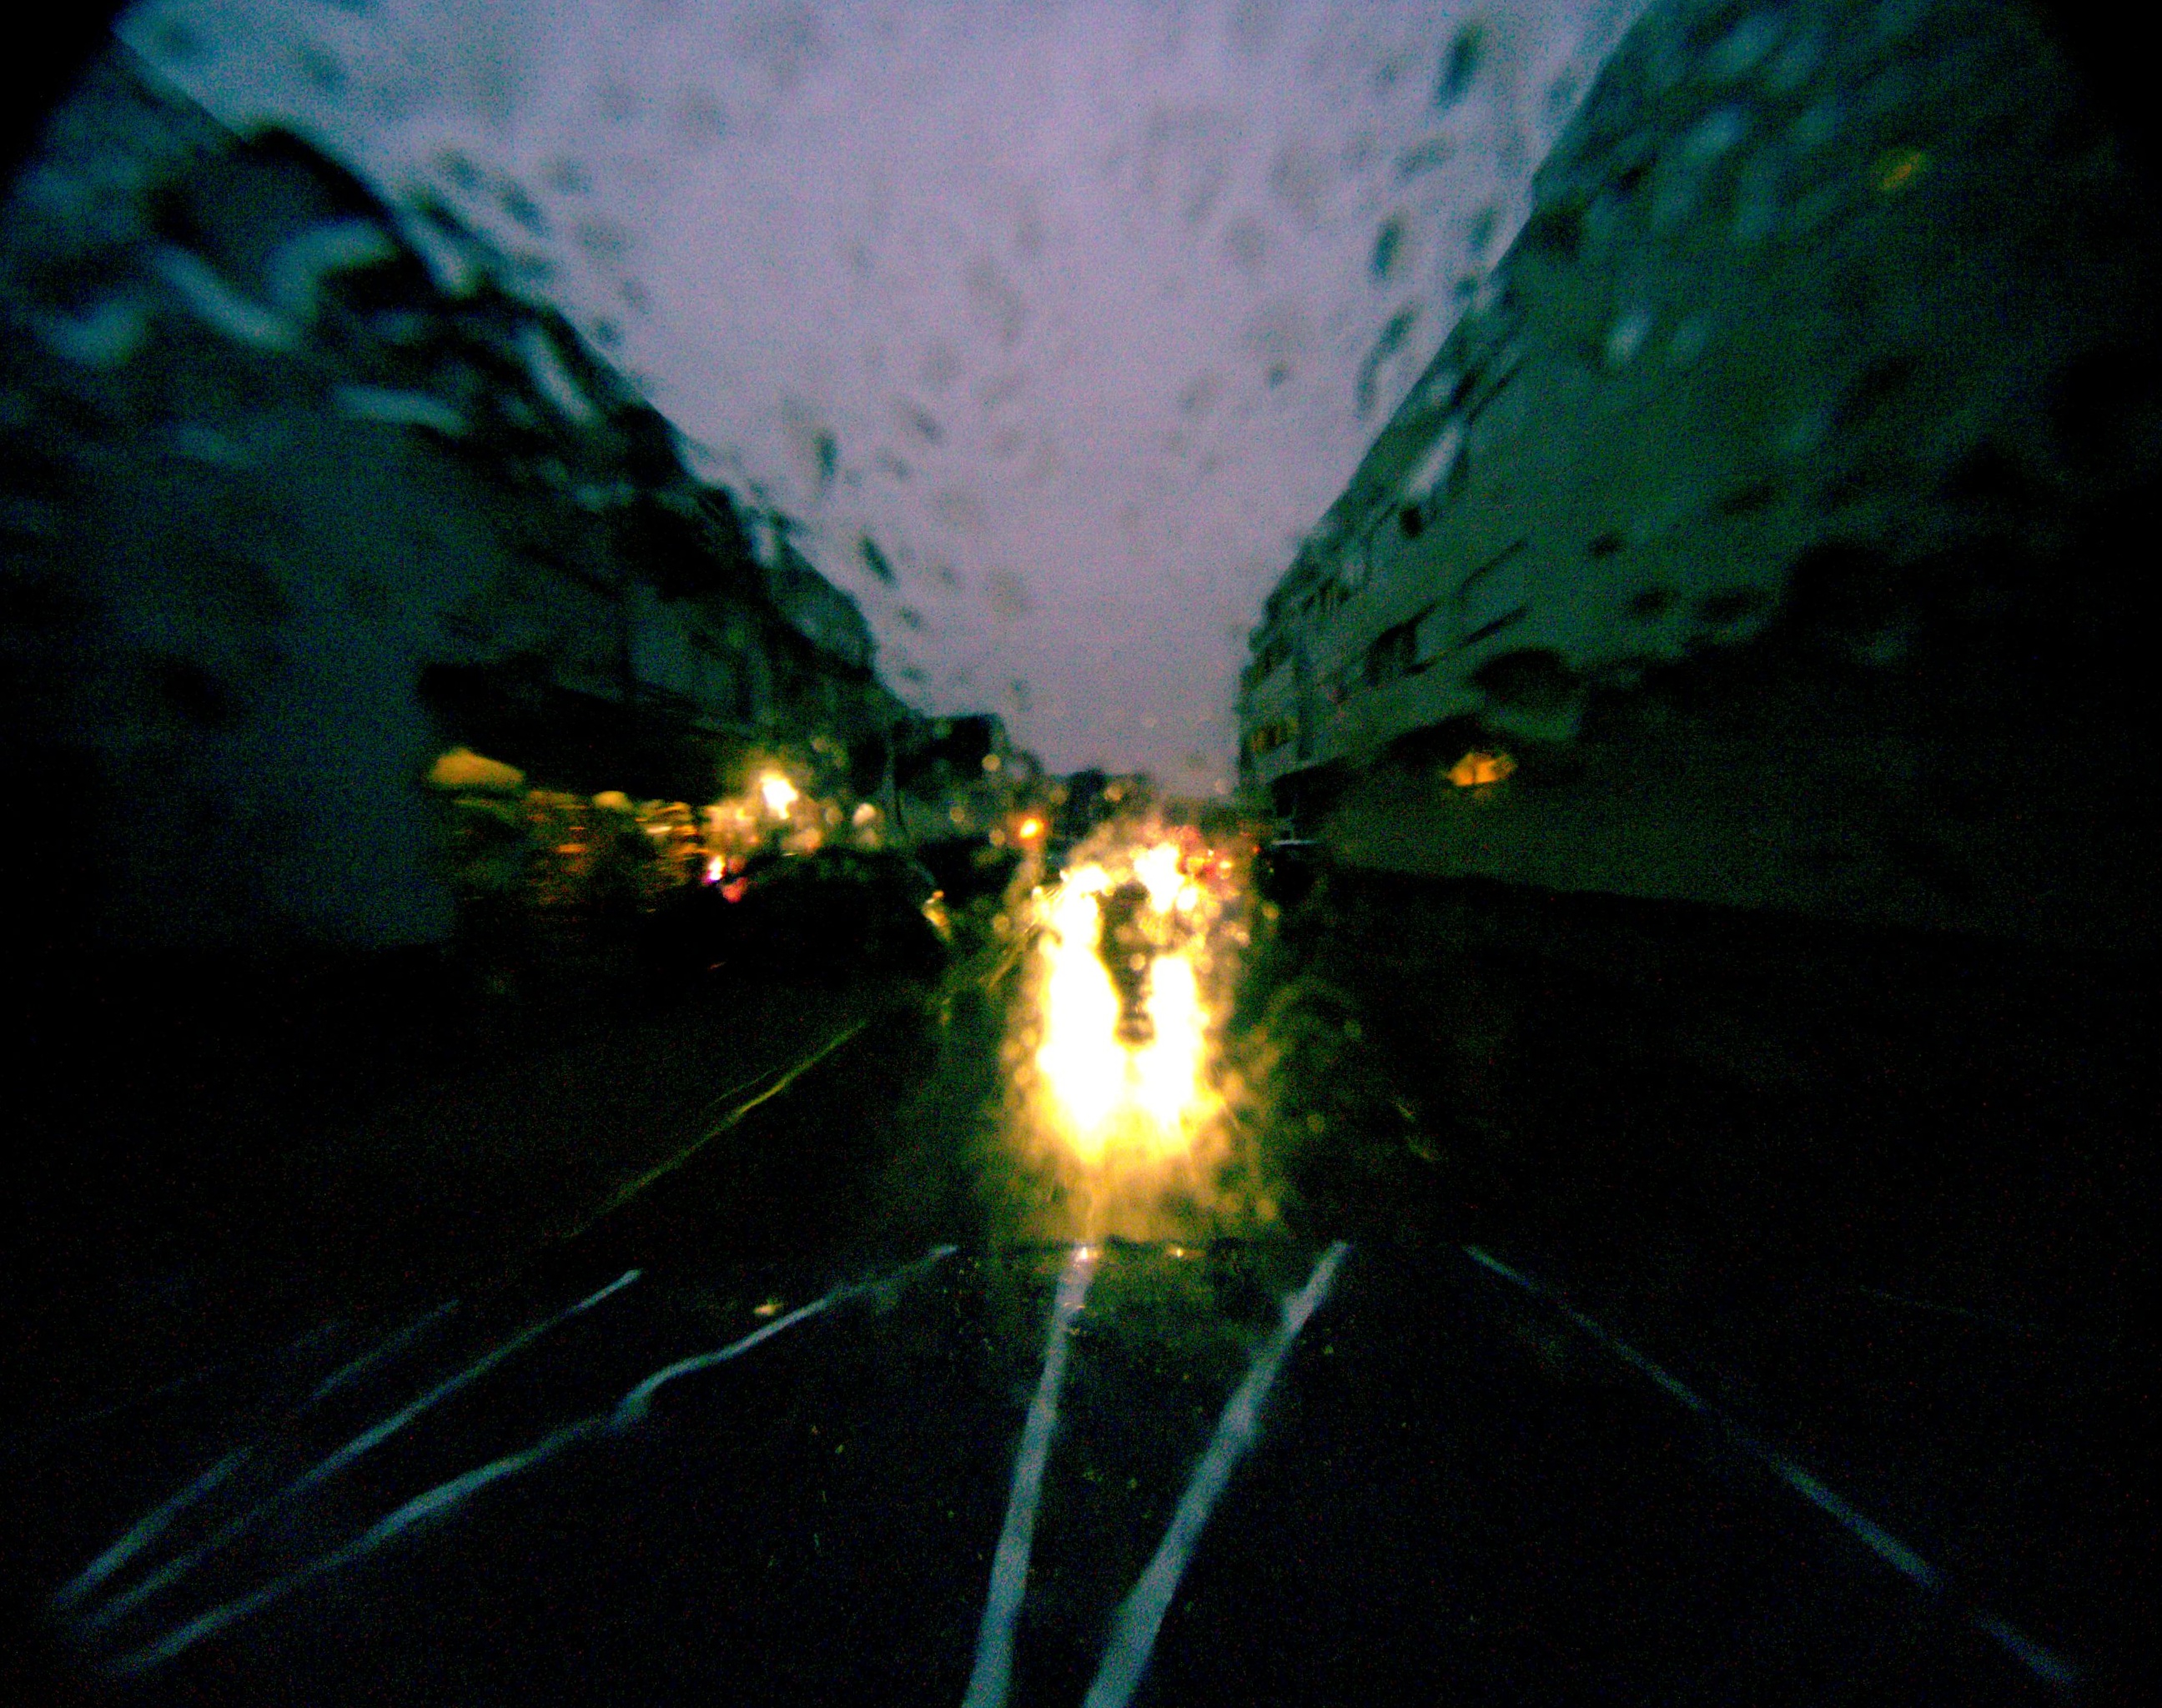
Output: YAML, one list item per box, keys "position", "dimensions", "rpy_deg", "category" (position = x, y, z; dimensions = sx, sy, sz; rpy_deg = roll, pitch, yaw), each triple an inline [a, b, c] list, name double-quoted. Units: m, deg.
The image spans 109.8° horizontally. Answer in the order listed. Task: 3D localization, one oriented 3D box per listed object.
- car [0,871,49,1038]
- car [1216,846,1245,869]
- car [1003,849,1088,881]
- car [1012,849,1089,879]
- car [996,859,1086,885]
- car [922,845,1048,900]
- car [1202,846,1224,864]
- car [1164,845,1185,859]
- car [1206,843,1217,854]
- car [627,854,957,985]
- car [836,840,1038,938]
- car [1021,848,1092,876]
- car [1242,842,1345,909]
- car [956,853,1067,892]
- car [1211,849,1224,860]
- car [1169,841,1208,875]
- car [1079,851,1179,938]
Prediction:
- position: [-11.907, 0.939, 6.385]
  dimensions: [3.997, 1.521, 1.745]
  rpy_deg: [-1, 0, -1]
  category: "car"
- position: [9.925, 0.202, 50.584]
  dimensions: [1.777, 1.441, 3.829]
  rpy_deg: [-2, 0, 9]
  category: "car"
- position: [-1.638, 0.505, 36.079]
  dimensions: [3.887, 1.487, 1.551]
  rpy_deg: [0, 1, 2]
  category: "car"
- position: [-1.552, 0.489, 39.212]
  dimensions: [3.888, 1.487, 1.551]
  rpy_deg: [0, 1, 0]
  category: "car"
- position: [-1.747, 0.787, 34.003]
  dimensions: [3.887, 1.121, 1.551]
  rpy_deg: [0, 0, 2]
  category: "car"
- position: [-3.110, 0.598, 25.179]
  dimensions: [3.887, 1.722, 1.714]
  rpy_deg: [0, 1, 2]
  category: "car"
- position: [11.216, 0.075, 64.569]
  dimensions: [1.777, 1.441, 3.829]
  rpy_deg: [-2, 0, 9]
  category: "car"
- position: [11.211, -0.280, 91.118]
  dimensions: [1.921, 1.608, 3.872]
  rpy_deg: [-2, 0, 15]
  category: "car"
- position: [25.234, -1.040, 146.994]
  dimensions: [1.835, 2.002, 3.703]
  rpy_deg: [-2, 0, 15]
  category: "car"
- position: [-3.716, 0.819, 10.275]
  dimensions: [3.852, 1.618, 1.611]
  rpy_deg: [0, 1, -2]
  category: "car"
- position: [-2.841, 0.668, 15.743]
  dimensions: [3.889, 1.866, 1.868]
  rpy_deg: [0, 1, -3]
  category: "car"
- position: [-1.317, 0.439, 42.535]
  dimensions: [3.888, 1.487, 1.551]
  rpy_deg: [0, 1, 0]
  category: "car"
- position: [5.681, 0.527, 20.791]
  dimensions: [1.899, 1.607, 3.827]
  rpy_deg: [-2, 0, 3]
  category: "car"
- position: [-2.498, 0.672, 27.828]
  dimensions: [3.887, 1.359, 1.551]
  rpy_deg: [0, 0, 2]
  category: "car"
- position: [18.112, 0.050, 100.776]
  dimensions: [1.495, 1.455, 3.128]
  rpy_deg: [0, 2, 16]
  category: "car"
- position: [5.858, 0.195, 41.724]
  dimensions: [1.892, 1.670, 4.001]
  rpy_deg: [-2, 0, 5]
  category: "car"
- position: [1.032, 0.714, 15.361]
  dimensions: [1.731, 1.475, 3.605]
  rpy_deg: [-2, 0, 6]
  category: "car"
